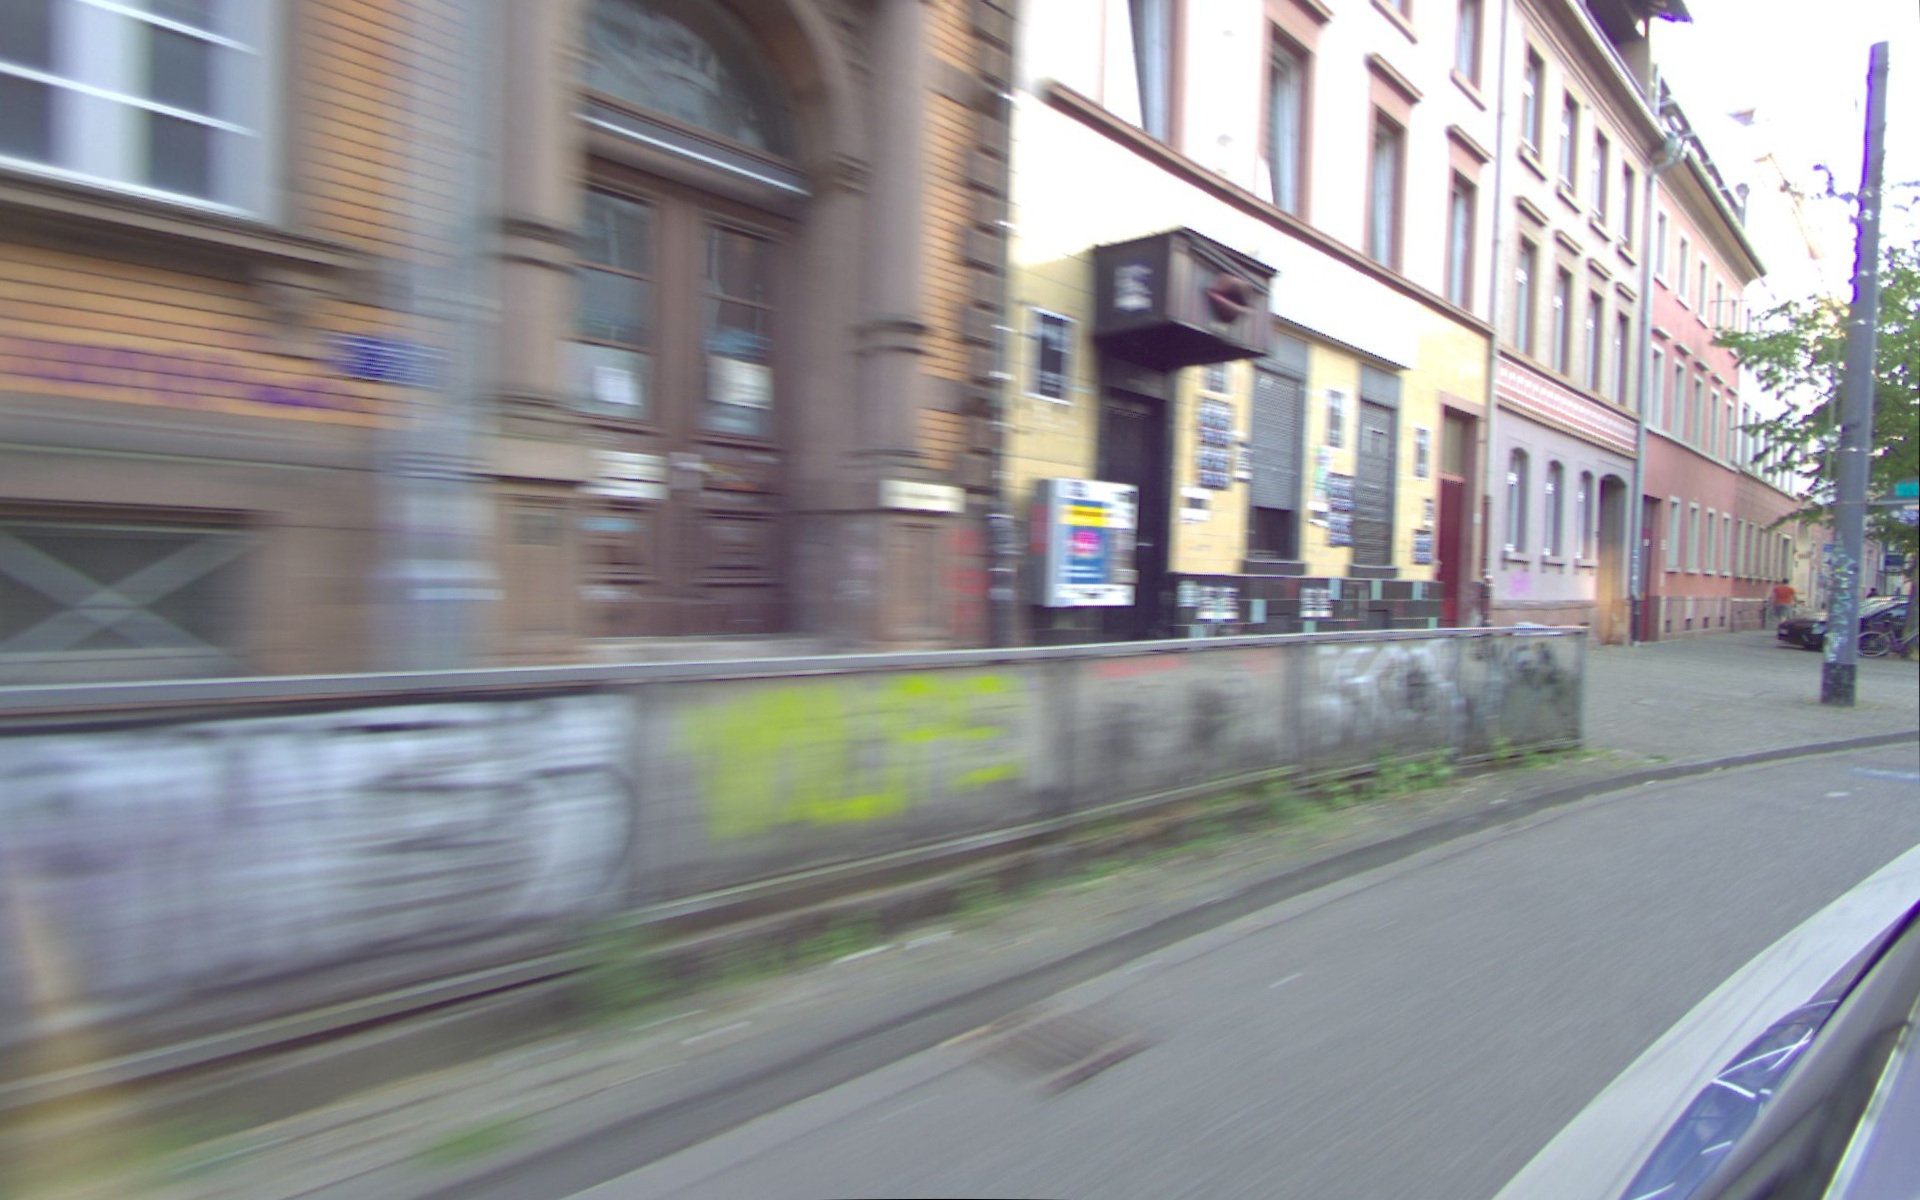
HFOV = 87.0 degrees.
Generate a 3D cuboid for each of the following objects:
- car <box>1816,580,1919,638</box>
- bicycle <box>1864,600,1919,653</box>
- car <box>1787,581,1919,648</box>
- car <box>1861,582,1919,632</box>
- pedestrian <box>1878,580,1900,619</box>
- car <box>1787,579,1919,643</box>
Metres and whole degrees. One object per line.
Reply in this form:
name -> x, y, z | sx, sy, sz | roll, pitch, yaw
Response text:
car -> 27.826, 0.308, 29.093 | 4.411, 1.535, 2.047 | 3, 2, 24
bicycle -> 21.740, 0.610, 22.992 | 0.912, 1.115, 1.692 | 0, 4, -44
car -> 23.327, 0.406, 24.623 | 4.568, 1.475, 1.698 | 4, 3, 23
car -> 31.561, 0.287, 32.446 | 3.525, 1.535, 1.731 | 3, 2, 22
pedestrian -> 45.299, -0.028, 49.352 | 0.590, 1.838, 0.681 | 0, 2, -43
car -> 25.296, 0.319, 27.461 | 3.955, 1.509, 1.818 | 4, 4, 23
